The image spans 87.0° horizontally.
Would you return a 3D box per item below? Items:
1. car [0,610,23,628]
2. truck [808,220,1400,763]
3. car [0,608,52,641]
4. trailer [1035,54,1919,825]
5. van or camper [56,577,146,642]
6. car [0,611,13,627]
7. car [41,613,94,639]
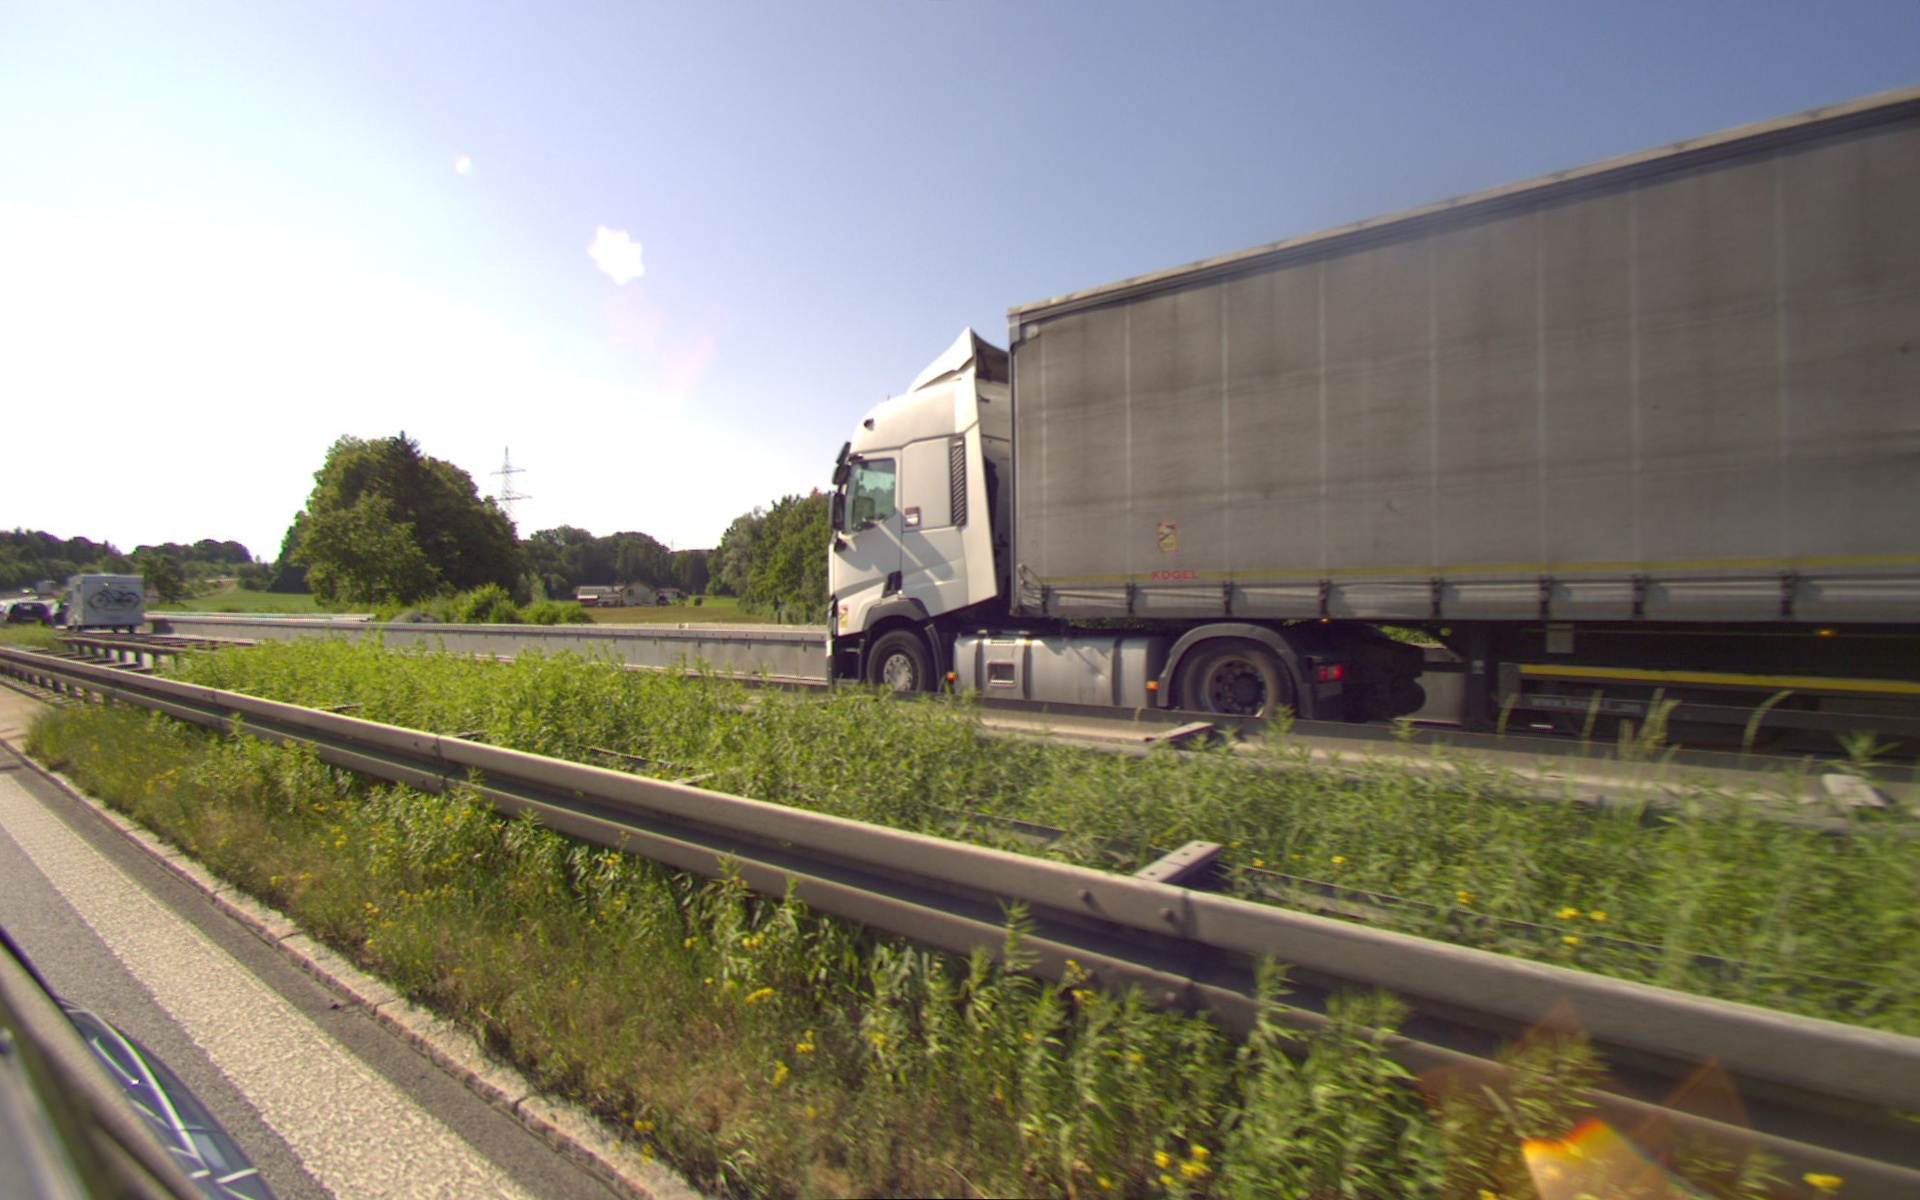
[{"bbox_3d":[-76.843,1.546,81.427,4.954,1.443,1.683,-1,-2,42],"label":"car"},{"bbox_3d":[1.273,-0.793,10.503,5.472,4.119,2.742,-1,-1,41],"label":"truck"},{"bbox_3d":[-44.757,1.156,48.294,3.999,1.541,1.723,-1,-2,42],"label":"car"},{"bbox_3d":[6.849,-0.866,5.655,13.988,4.101,2.713,-1,-1,41],"label":"trailer"},{"bbox_3d":[-42.171,0.456,49.590,7.521,2.972,2.380,-1,0,42],"label":"van or camper"},{"bbox_3d":[-90.677,1.760,95.241,4.982,1.443,1.863,-1,0,42],"label":"car"},{"bbox_3d":[-52.348,1.504,59.324,5.233,1.443,1.722,-1,-3,42],"label":"car"}]
